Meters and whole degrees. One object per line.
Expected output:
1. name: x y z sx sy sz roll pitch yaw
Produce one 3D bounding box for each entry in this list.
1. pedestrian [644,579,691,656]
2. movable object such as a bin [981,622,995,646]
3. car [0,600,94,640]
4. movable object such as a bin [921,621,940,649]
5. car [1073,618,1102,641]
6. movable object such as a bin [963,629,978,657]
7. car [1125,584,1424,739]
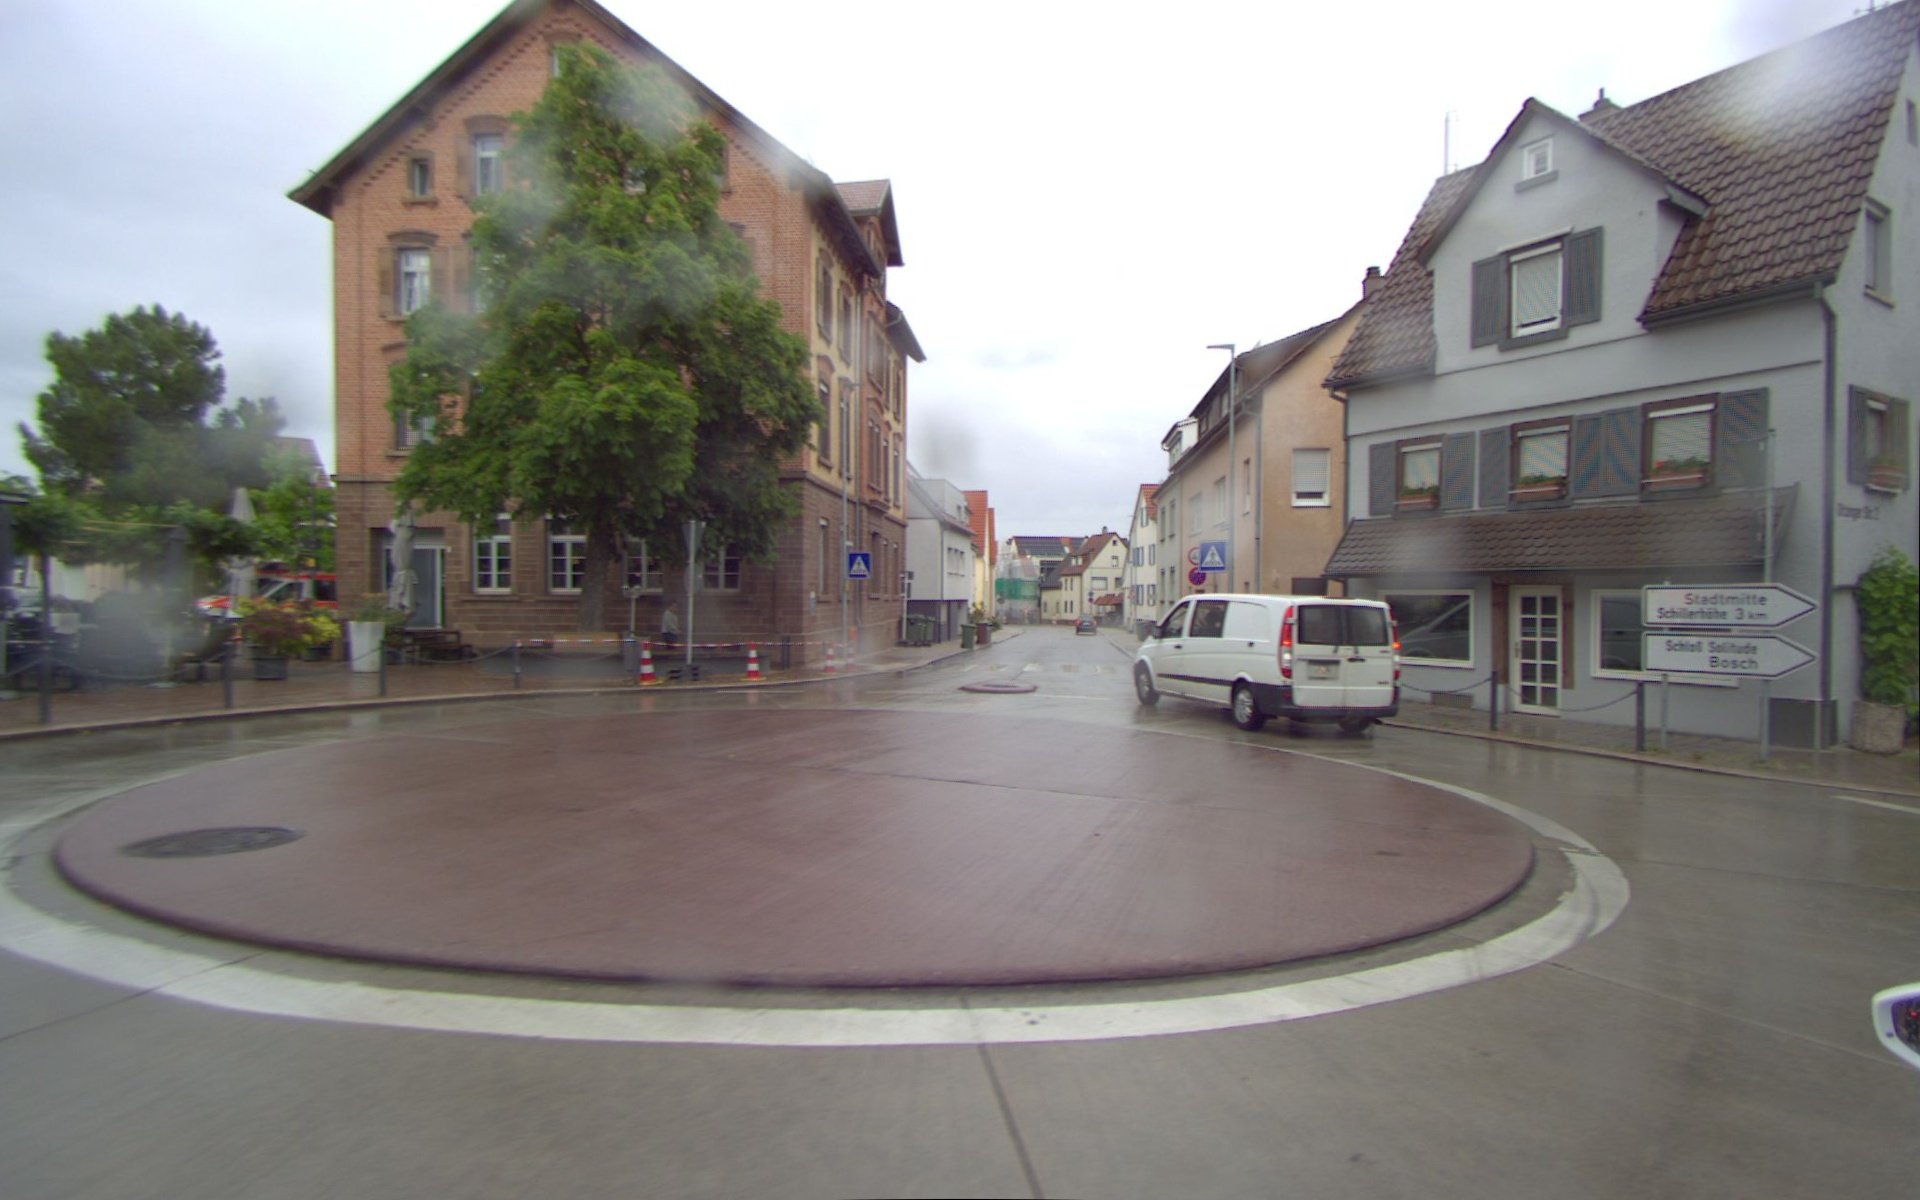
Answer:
1. pedestrian: -7.457 0.442 25.672 0.826 1.911 0.825 2 -1 6
2. movable object such as a bin: 1.399 1.701 50.179 0.643 1.184 0.782 2 -1 3
3. car: -35.452 0.766 38.649 3.926 1.461 1.872 0 -2 28
4. movable object such as a bin: -1.296 1.516 43.868 0.735 1.184 0.632 2 -1 2
5. car: 9.747 2.267 76.929 1.939 1.701 4.071 1 -2 4
6. movable object such as a bin: 0.486 1.931 45.317 0.616 1.188 0.762 2 -1 3
7. car: 4.408 0.847 15.096 2.122 1.923 4.914 2 -2 -12
